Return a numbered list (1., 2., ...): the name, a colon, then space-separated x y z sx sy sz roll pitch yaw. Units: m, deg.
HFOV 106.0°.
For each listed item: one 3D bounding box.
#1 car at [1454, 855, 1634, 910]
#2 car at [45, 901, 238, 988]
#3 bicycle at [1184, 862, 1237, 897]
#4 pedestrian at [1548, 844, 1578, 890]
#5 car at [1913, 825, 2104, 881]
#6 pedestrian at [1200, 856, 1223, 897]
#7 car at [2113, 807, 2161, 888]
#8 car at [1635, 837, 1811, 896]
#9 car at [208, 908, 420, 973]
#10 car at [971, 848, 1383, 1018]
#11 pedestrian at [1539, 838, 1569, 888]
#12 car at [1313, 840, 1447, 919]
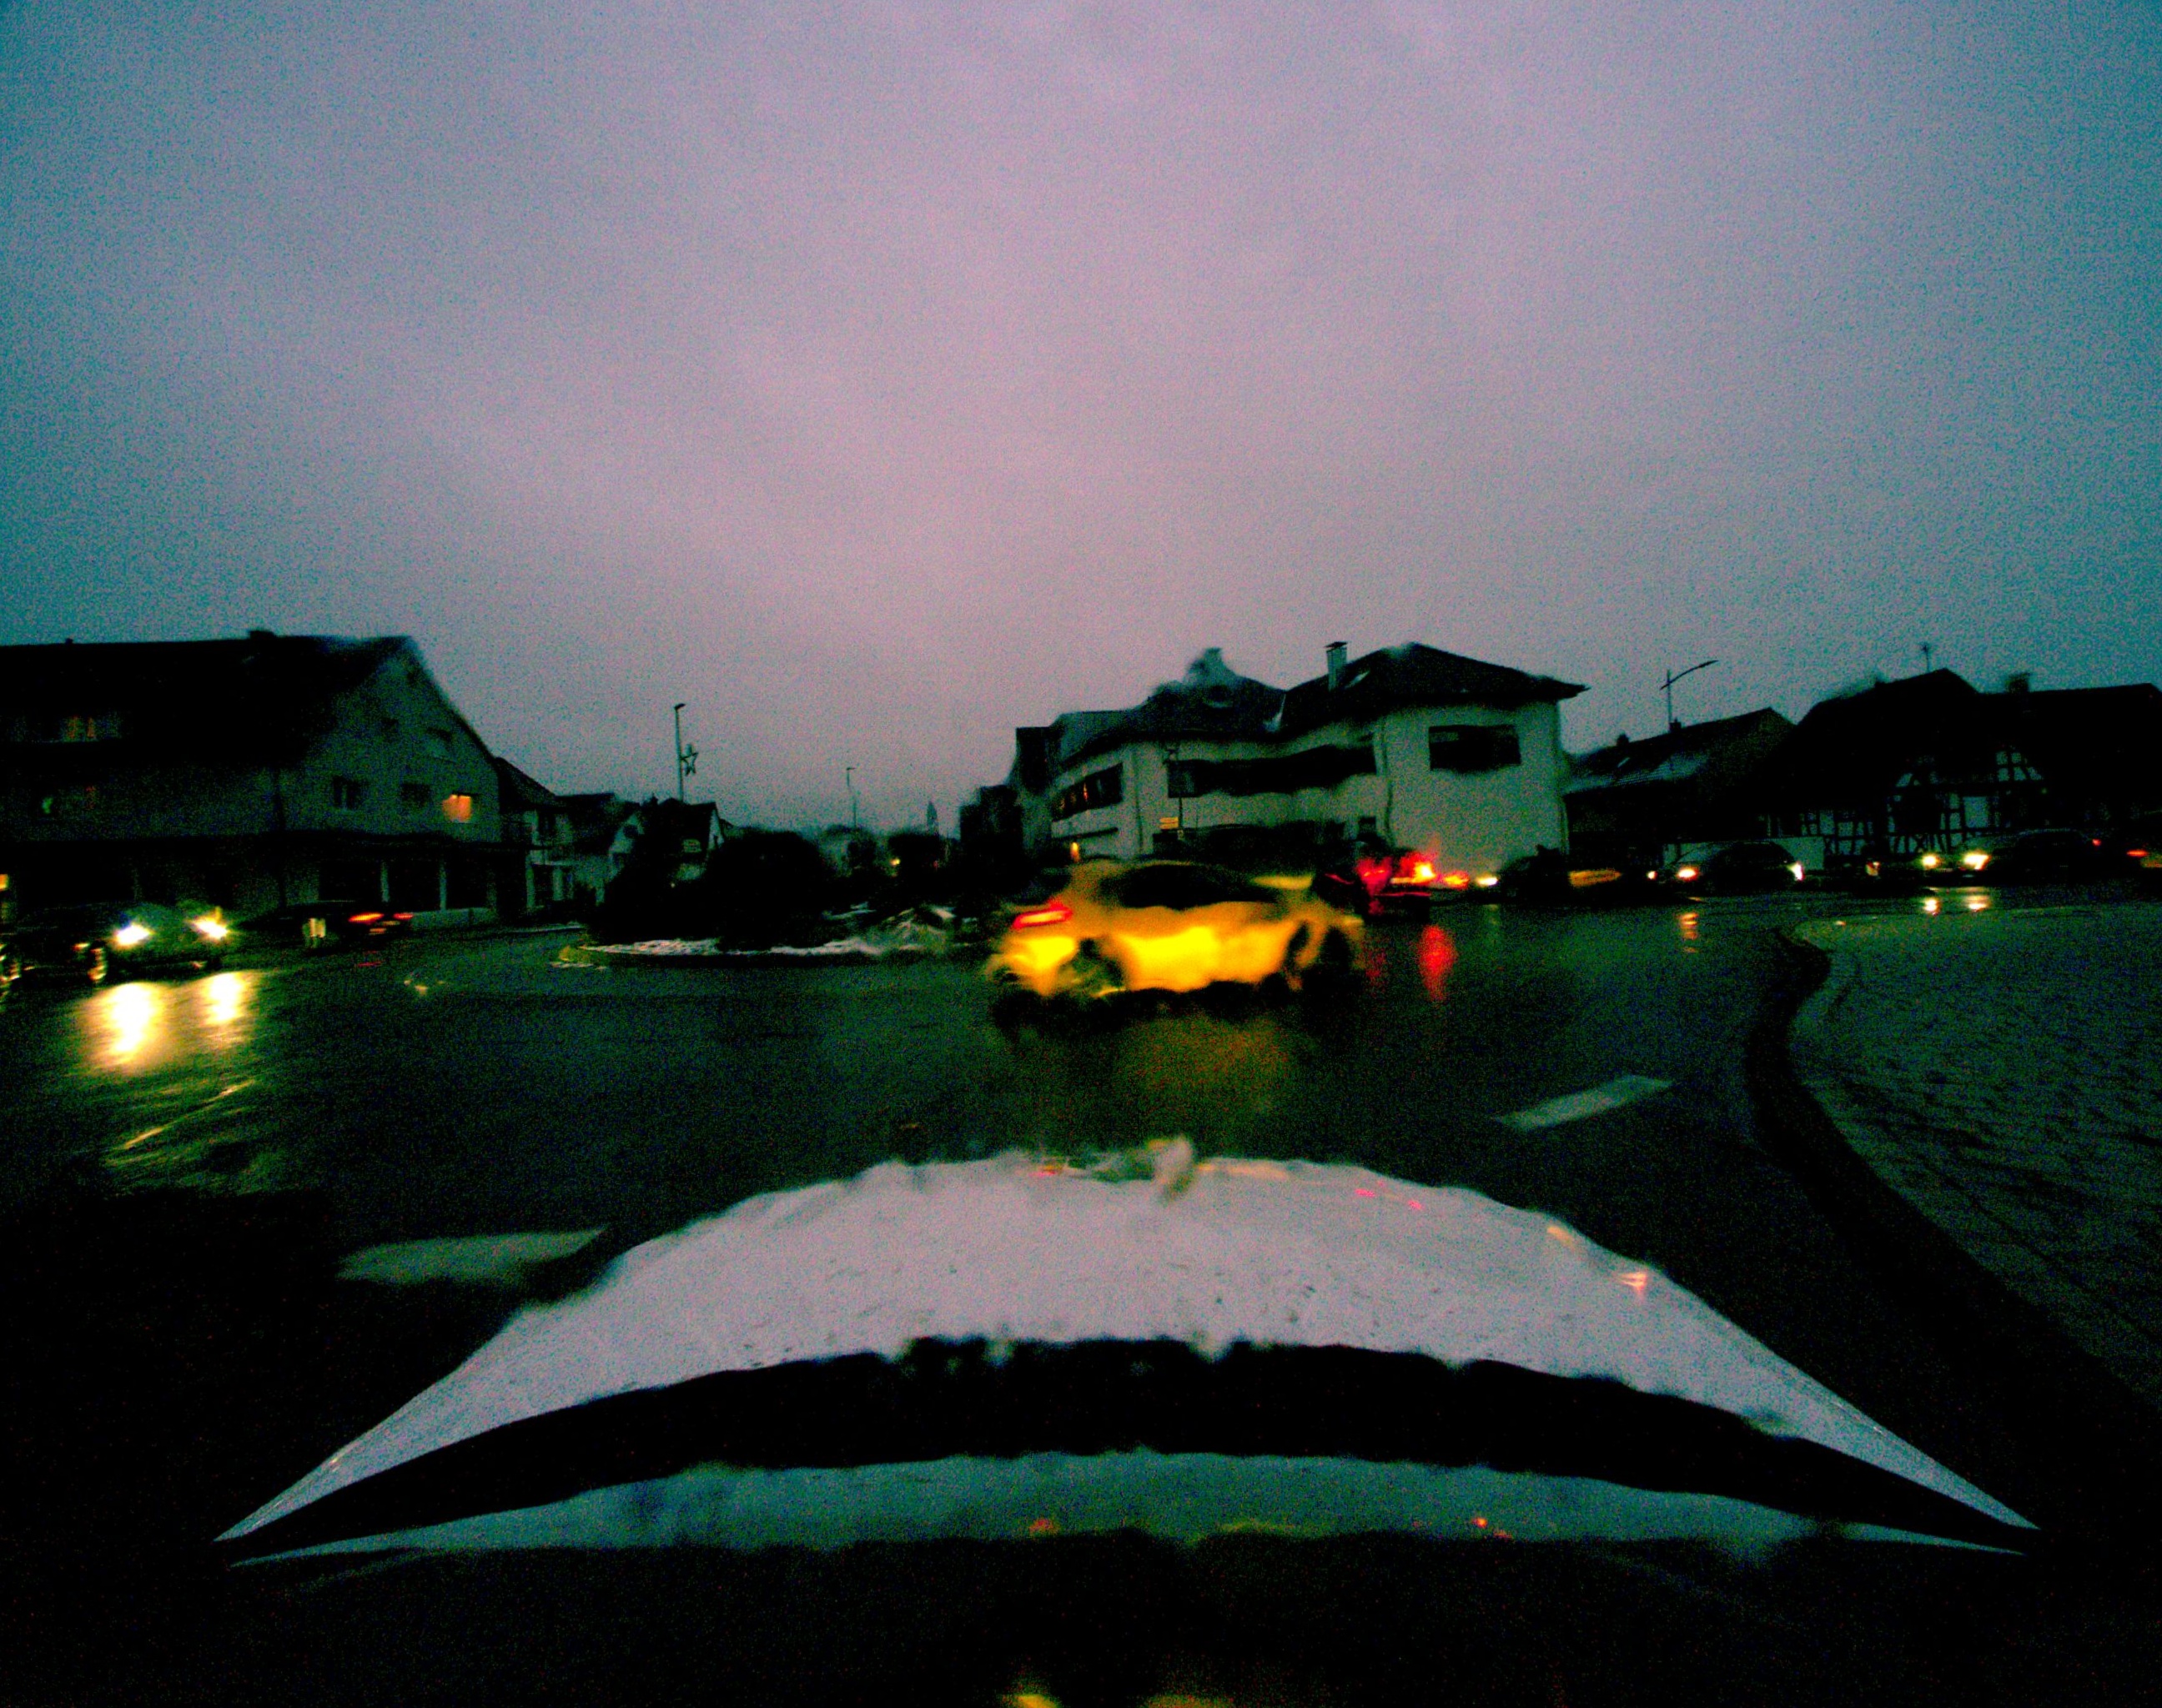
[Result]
1. car: 13.595 0.858 24.081 4.208 1.384 1.850 -2 -3 -1
2. car: -21.349 1.958 18.487 4.573 1.593 1.966 -1 0 29
3. bicycle: 5.053 1.017 31.899 1.918 1.295 0.555 -3 1 27
4. pedestrian: 17.581 0.478 29.737 0.711 1.621 0.583 -2 -1 8
5. car: 28.791 -0.001 25.350 4.236 1.508 1.694 -2 -2 -5
6. pedestrian: 5.197 0.885 32.331 0.683 1.564 0.614 -3 0 27
7. car: 29.405 -0.264 20.643 4.886 2.014 1.992 -2 -1 -12
8. car: 19.178 0.378 24.425 3.978 1.552 1.695 -2 -2 -3
9. car: -23.355 2.597 24.952 4.477 1.611 1.897 -2 -1 -4
10. car: 0.966 0.707 8.676 4.010 1.422 1.705 -2 0 -18
11. pedestrian: 17.754 0.318 30.566 0.711 1.832 0.639 -2 1 8
12. car: 6.925 0.595 19.325 1.907 1.615 3.954 -2 -2 4
